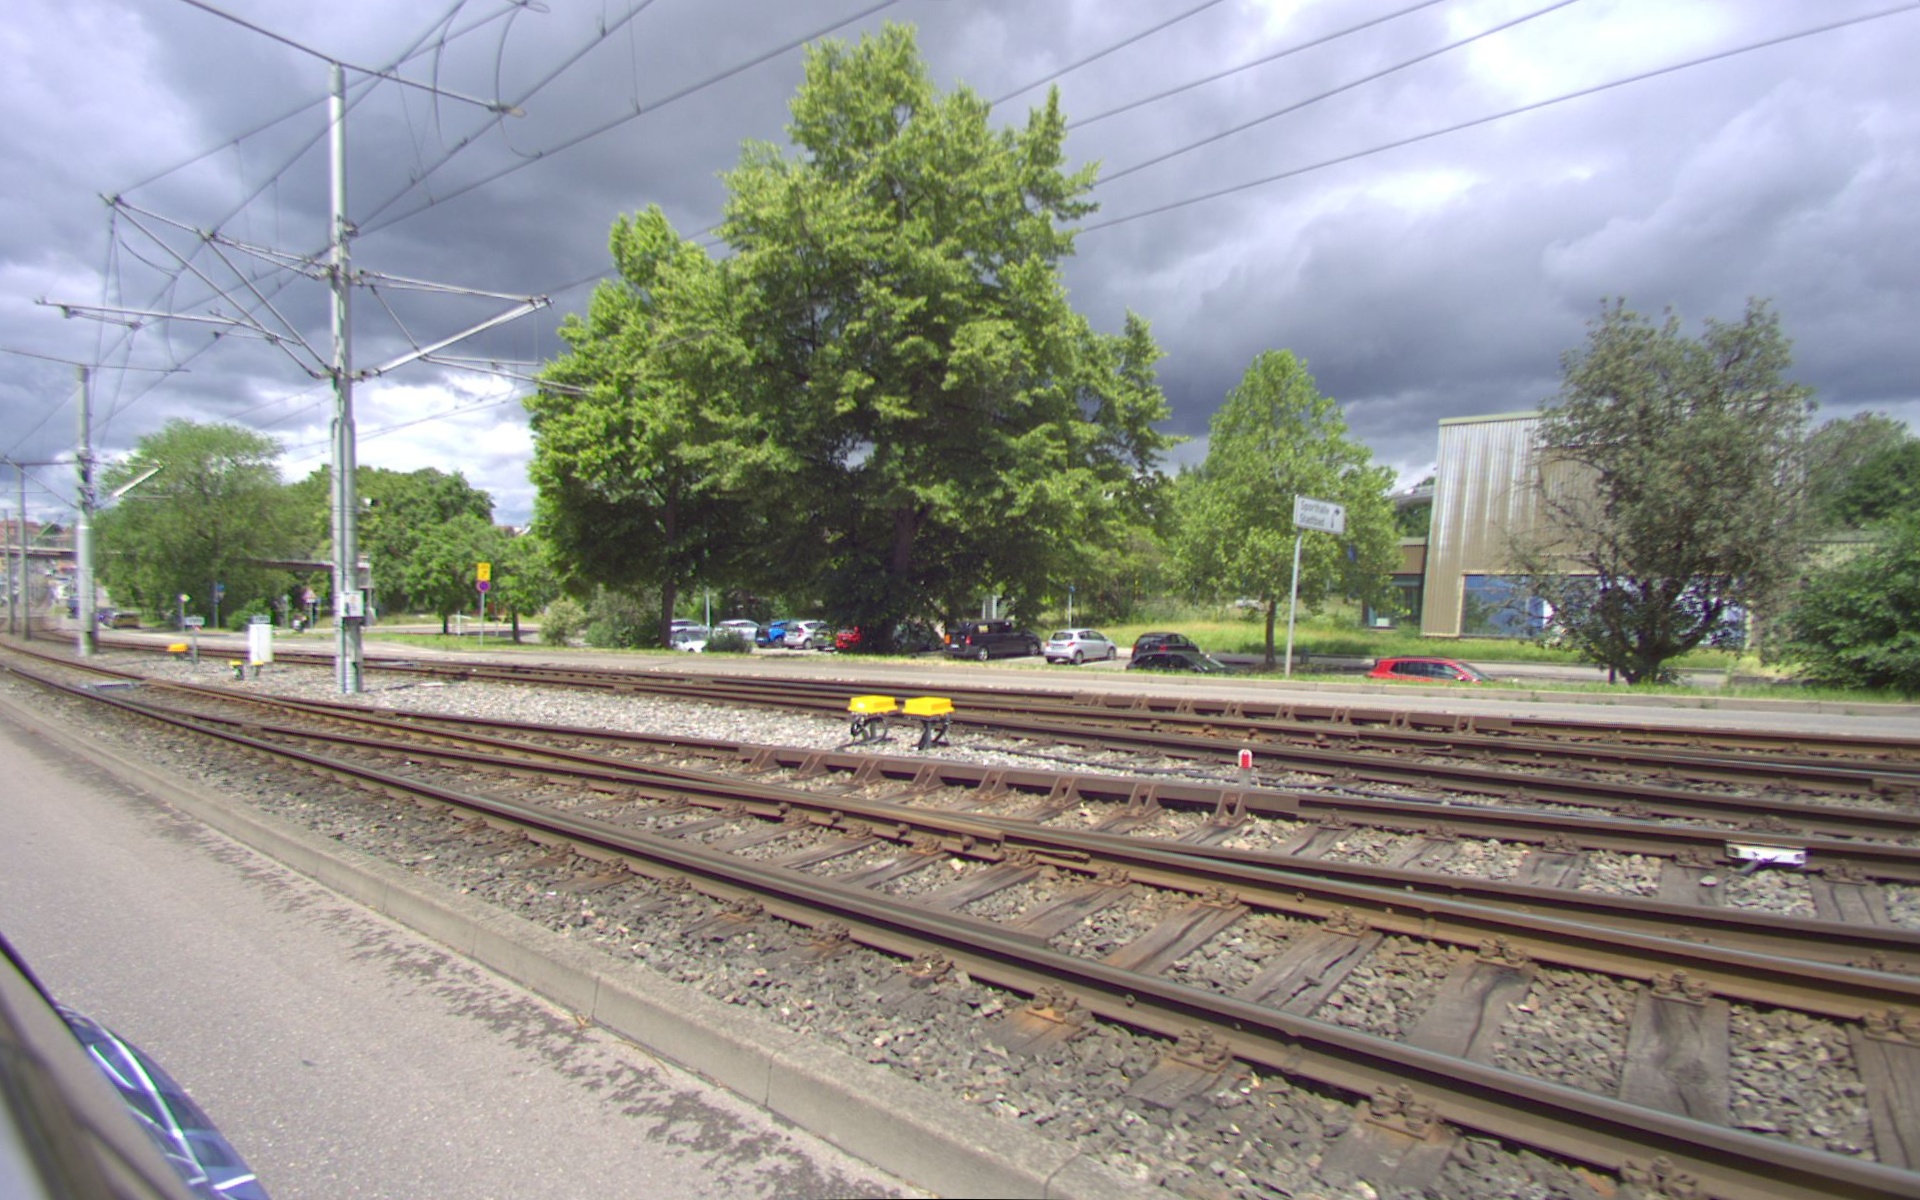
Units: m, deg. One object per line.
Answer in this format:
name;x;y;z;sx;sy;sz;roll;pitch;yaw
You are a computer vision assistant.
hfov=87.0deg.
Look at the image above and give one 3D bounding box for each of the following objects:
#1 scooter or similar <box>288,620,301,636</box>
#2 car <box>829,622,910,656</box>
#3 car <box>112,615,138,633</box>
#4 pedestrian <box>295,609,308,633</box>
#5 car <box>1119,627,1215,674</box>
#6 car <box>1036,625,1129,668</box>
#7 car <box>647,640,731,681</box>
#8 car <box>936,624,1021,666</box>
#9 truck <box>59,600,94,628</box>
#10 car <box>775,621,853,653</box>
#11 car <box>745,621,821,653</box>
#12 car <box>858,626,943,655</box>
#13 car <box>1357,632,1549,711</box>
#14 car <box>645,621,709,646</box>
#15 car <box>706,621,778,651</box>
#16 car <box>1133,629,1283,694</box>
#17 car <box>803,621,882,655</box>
scooter or similar;-50.750;2.098;77.153;0.702;1.155;0.789;-3;3;-41
car;-4.867;2.080;54.674;3.906;1.592;1.999;-3;0;-42
car;-77.776;2.206;94.266;1.669;1.461;3.904;-3;3;-42
pedestrian;-51.058;1.634;78.447;0.653;1.768;0.719;-3;3;-41
car;8.648;2.059;42.207;3.938;1.611;1.862;-3;1;-40
car;5.507;2.046;45.274;3.937;1.611;1.862;-3;1;-39
car;-13.062;2.888;48.682;4.067;1.768;1.969;-2;0;42
car;0.872;2.076;47.420;3.550;1.649;1.955;-3;1;-39
truck;-117.353;1.771;134.363;2.839;3.344;9.036;-4;3;-45
car;-8.357;2.115;58.111;3.906;1.592;1.996;-3;0;-42
car;-10.382;2.164;59.490;3.906;1.592;1.872;-3;0;-42
car;-3.067;2.094;52.898;4.032;1.261;1.999;-3;0;-42
car;12.390;1.738;25.554;3.997;1.785;1.797;-2;-2;41
car;-18.976;2.218;68.014;3.821;1.401;1.576;-3;3;-40
car;-13.550;2.215;62.960;3.865;1.592;1.846;-3;0;-37
car;7.375;1.786;30.334;4.001;1.785;1.796;-2;-2;44
car;-6.504;2.089;56.171;3.906;1.592;1.999;-3;0;-42
